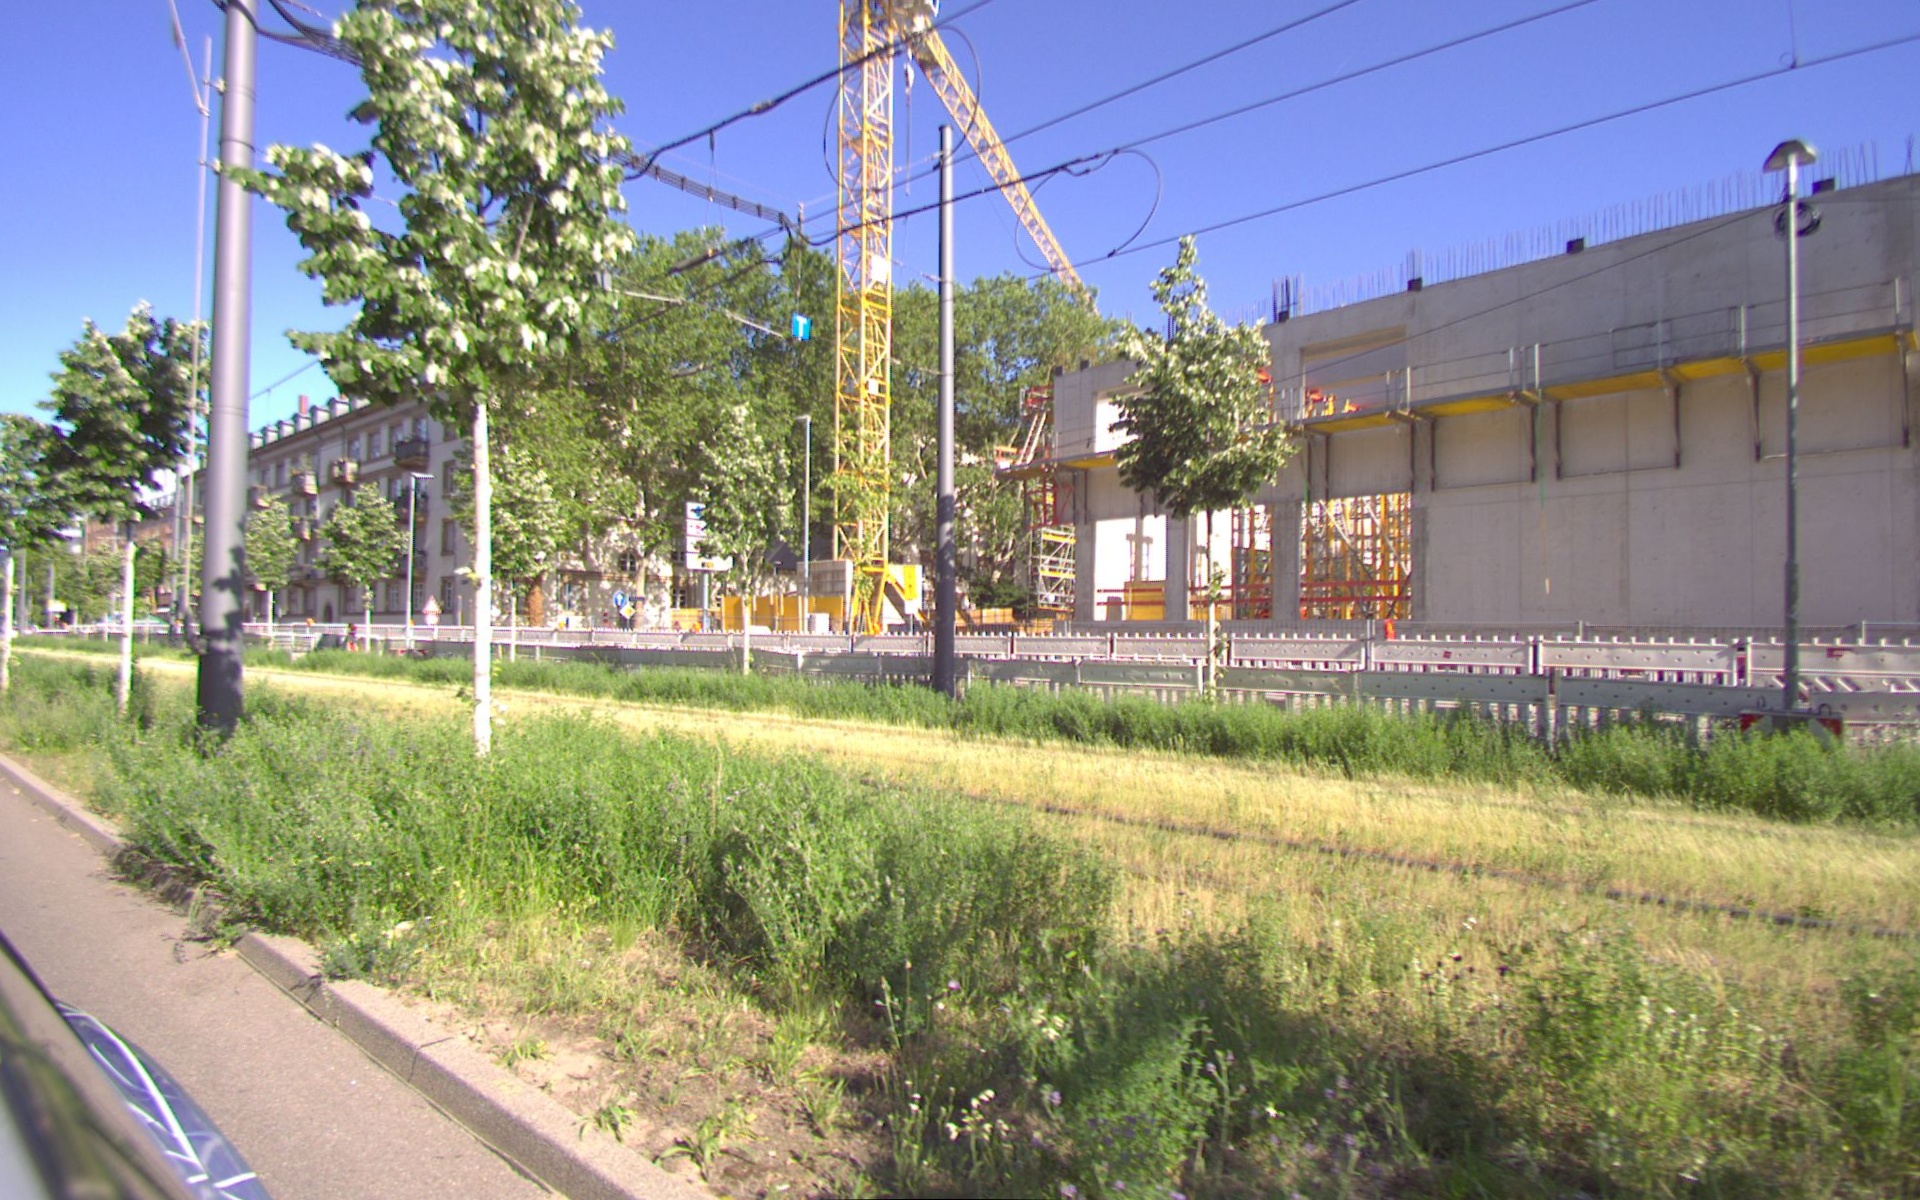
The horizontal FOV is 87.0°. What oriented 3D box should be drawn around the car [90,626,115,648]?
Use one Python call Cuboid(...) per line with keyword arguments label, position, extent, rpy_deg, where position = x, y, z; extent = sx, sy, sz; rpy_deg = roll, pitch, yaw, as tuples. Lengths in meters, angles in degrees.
Cuboid(label="car", position=(-95.603, 4.115, 112.859), extent=(1.969, 2.314, 5.195), rpy_deg=(1, -1, -42))
